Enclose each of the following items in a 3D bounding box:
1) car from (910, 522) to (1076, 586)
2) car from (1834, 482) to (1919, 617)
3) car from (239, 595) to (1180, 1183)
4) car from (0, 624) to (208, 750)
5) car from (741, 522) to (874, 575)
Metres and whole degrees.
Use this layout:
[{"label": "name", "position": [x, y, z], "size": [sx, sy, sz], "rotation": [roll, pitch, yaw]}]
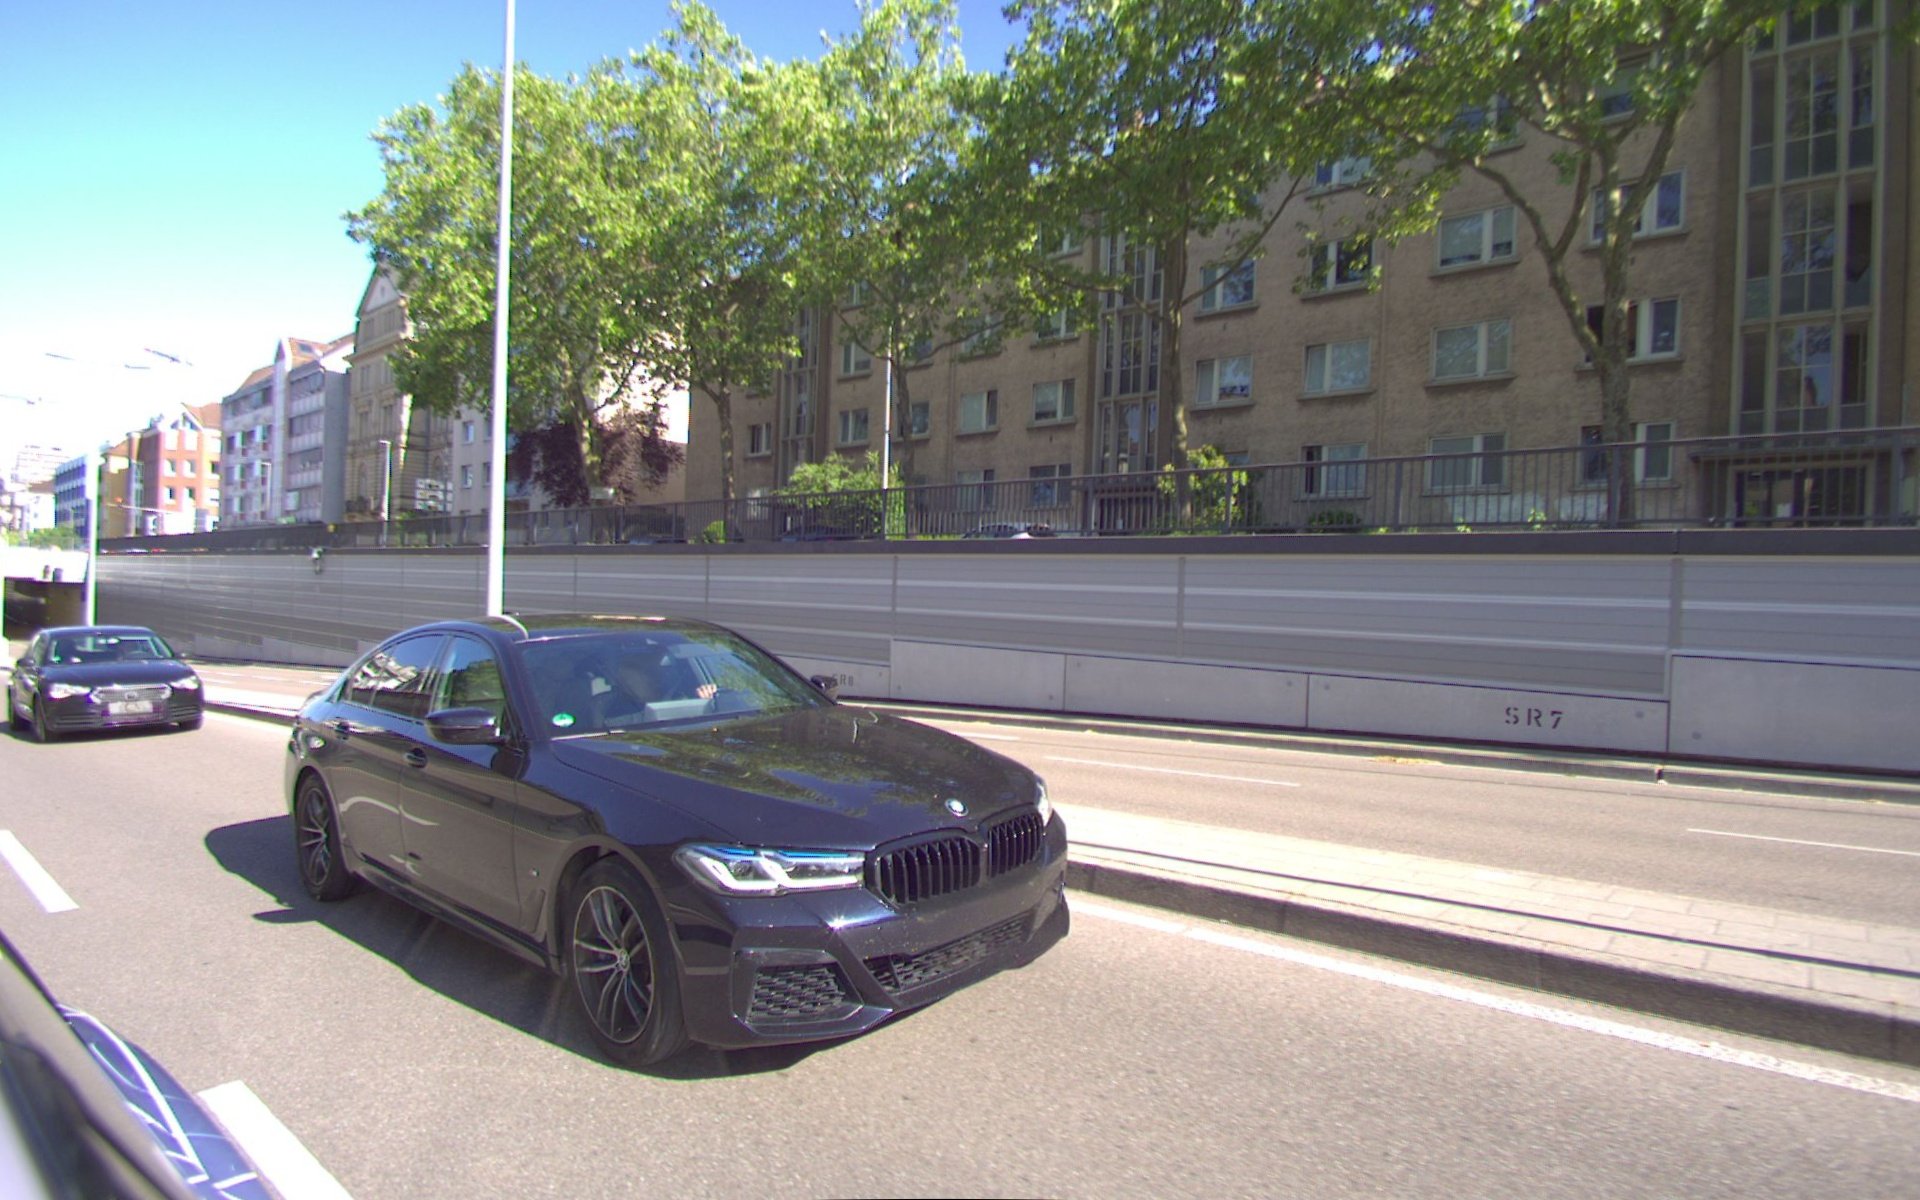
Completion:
[{"label": "car", "position": [0.847, -1.207, 27.689], "size": [4.300, 1.596, 1.902], "rotation": [1, 1, 39]}, {"label": "car", "position": [15.654, -0.727, 14.721], "size": [4.412, 1.975, 1.945], "rotation": [1, 1, 41]}, {"label": "car", "position": [-1.636, 0.760, 4.825], "size": [4.999, 1.450, 1.790], "rotation": [-2, -1, 41]}, {"label": "car", "position": [-11.703, 1.068, 13.667], "size": [3.886, 1.429, 1.678], "rotation": [-2, -1, 41]}, {"label": "car", "position": [-5.011, -1.619, 33.017], "size": [4.300, 1.596, 1.902], "rotation": [1, 1, 39]}]
